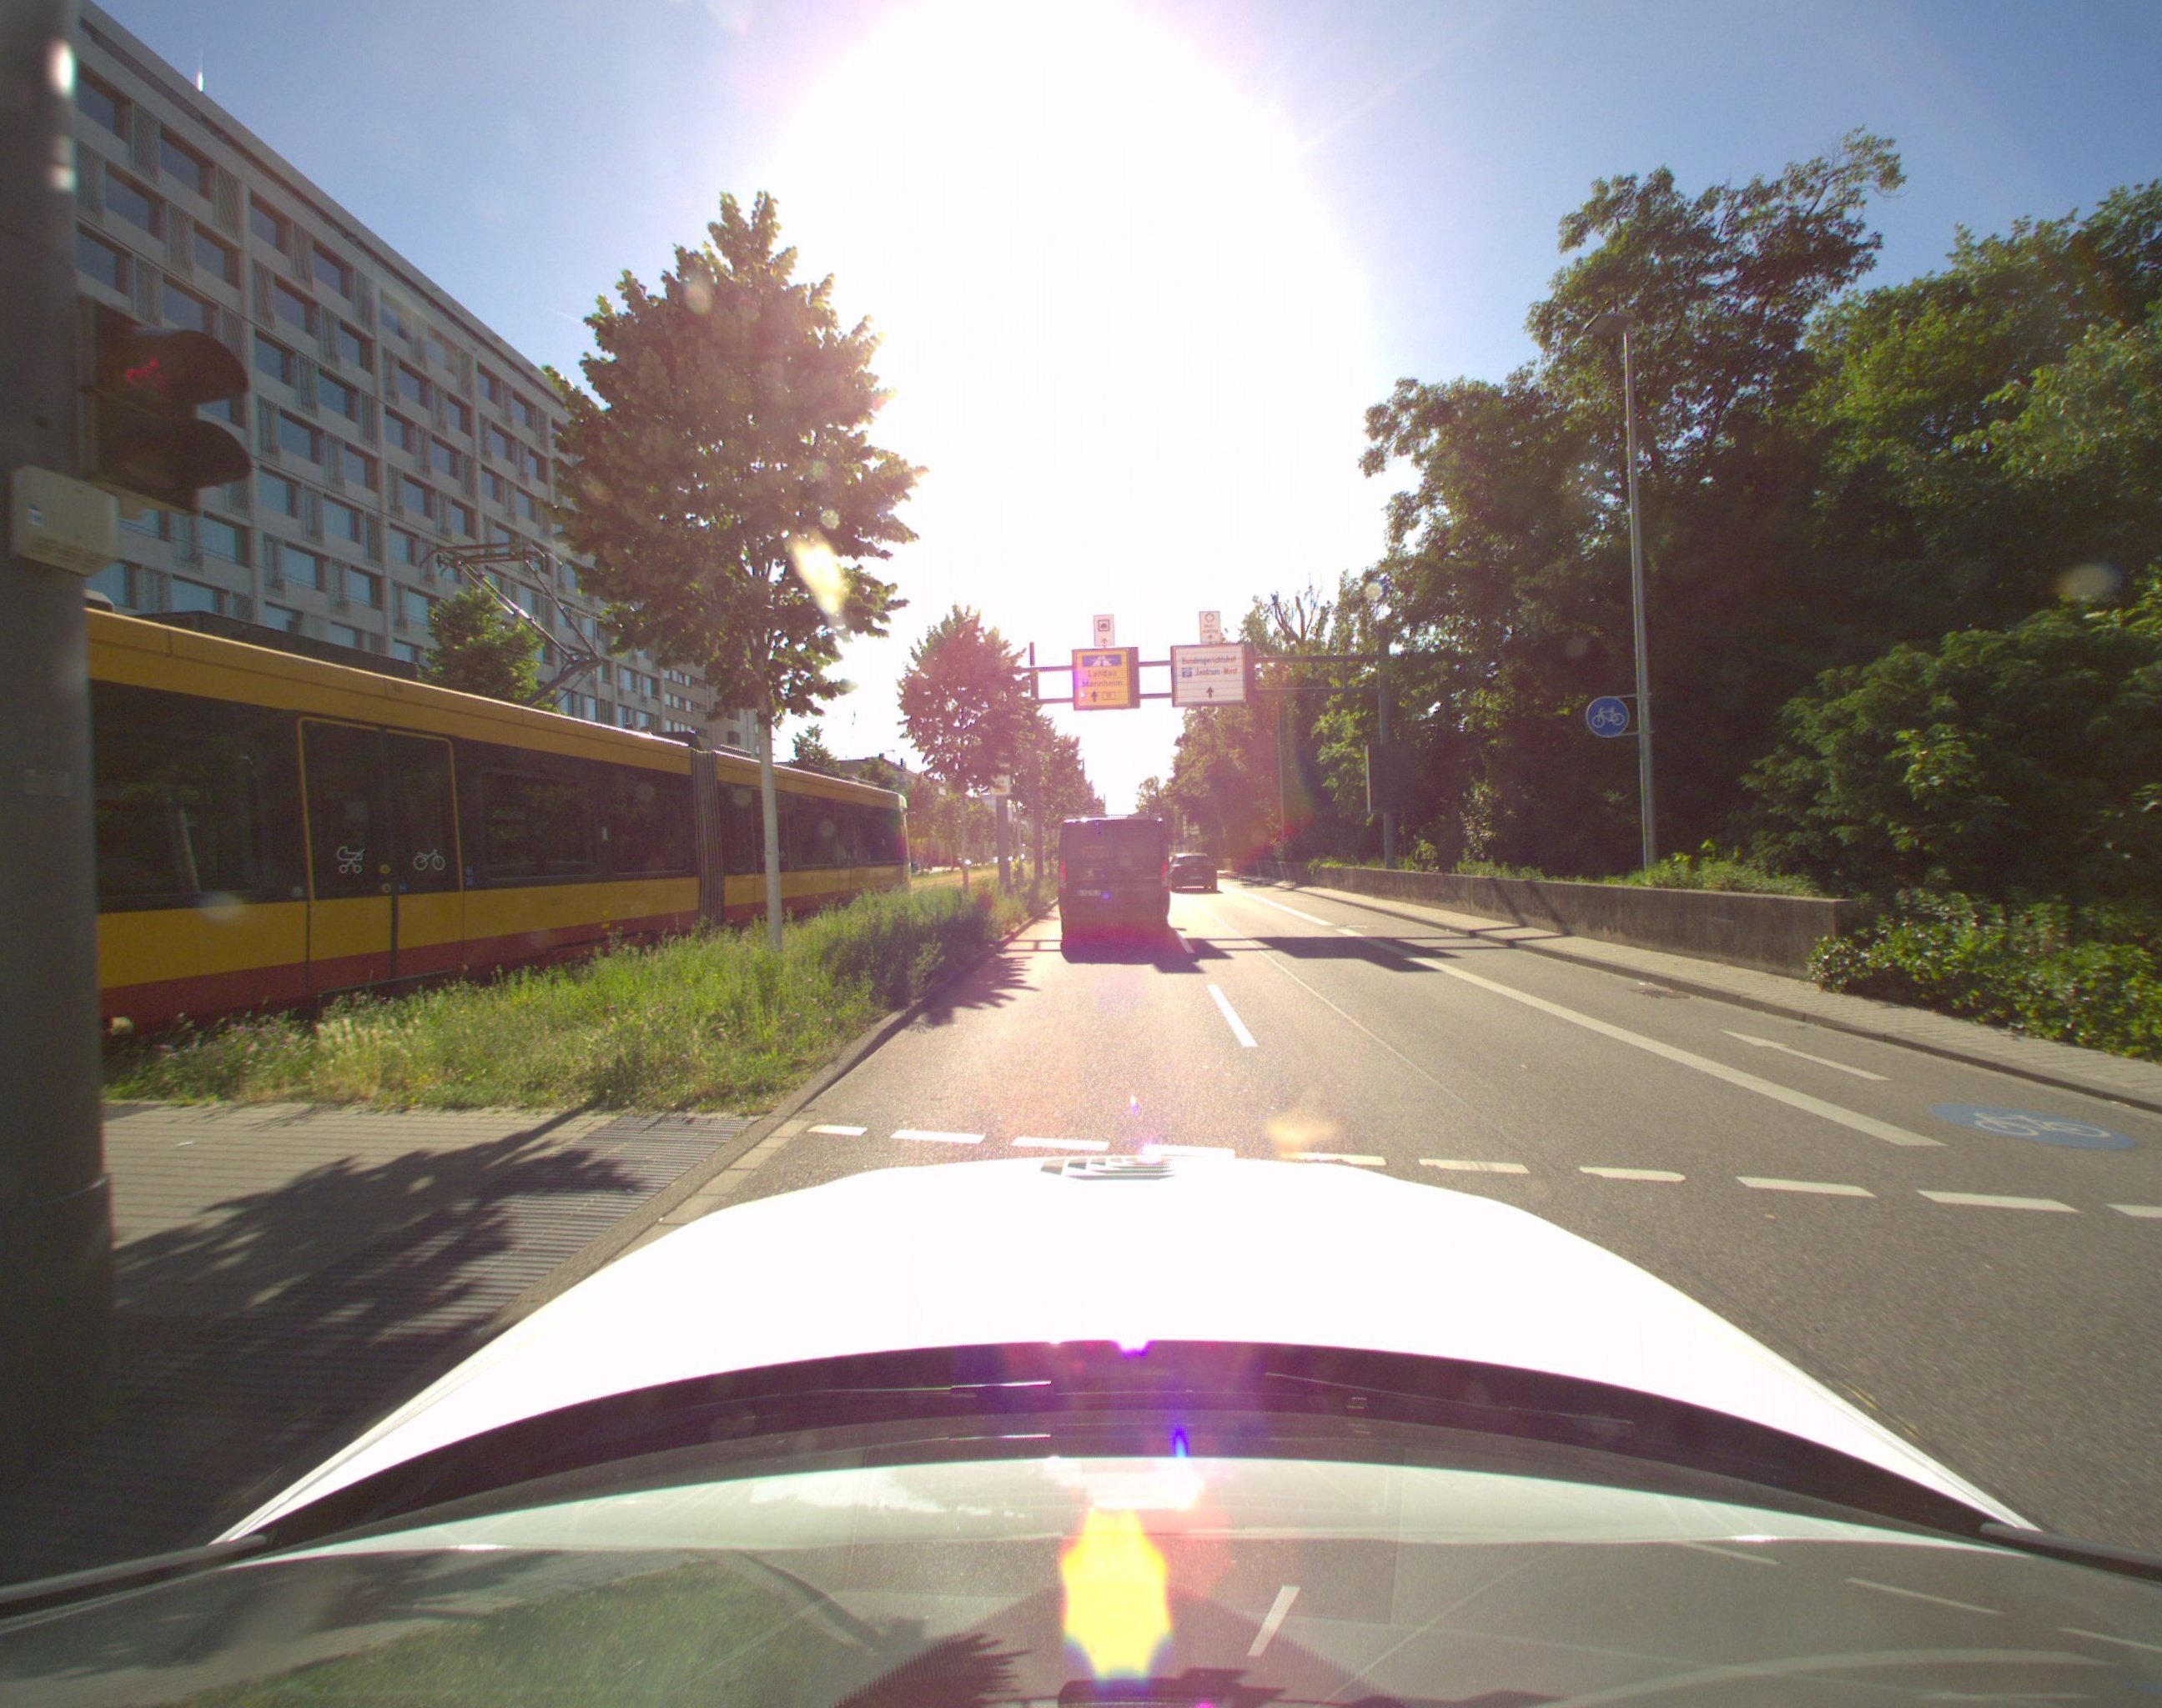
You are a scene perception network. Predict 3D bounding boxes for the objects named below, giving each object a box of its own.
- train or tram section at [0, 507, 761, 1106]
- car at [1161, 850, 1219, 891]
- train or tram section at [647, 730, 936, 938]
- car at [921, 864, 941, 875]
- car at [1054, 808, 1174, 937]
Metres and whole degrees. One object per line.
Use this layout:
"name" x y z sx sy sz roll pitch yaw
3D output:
"train or tram section" -7.241 -0.269 8.938 1.984 3.669 11.333 -1 0 5
"car" 4.175 0.615 31.688 1.757 1.462 4.000 -1 0 1
"train or tram section" -6.222 -0.326 20.355 1.984 3.669 11.700 -1 0 5
"car" -22.558 2.254 122.385 1.985 1.552 4.004 -1 0 4
"car" 0.666 0.340 16.385 2.074 2.249 4.002 -1 0 2
